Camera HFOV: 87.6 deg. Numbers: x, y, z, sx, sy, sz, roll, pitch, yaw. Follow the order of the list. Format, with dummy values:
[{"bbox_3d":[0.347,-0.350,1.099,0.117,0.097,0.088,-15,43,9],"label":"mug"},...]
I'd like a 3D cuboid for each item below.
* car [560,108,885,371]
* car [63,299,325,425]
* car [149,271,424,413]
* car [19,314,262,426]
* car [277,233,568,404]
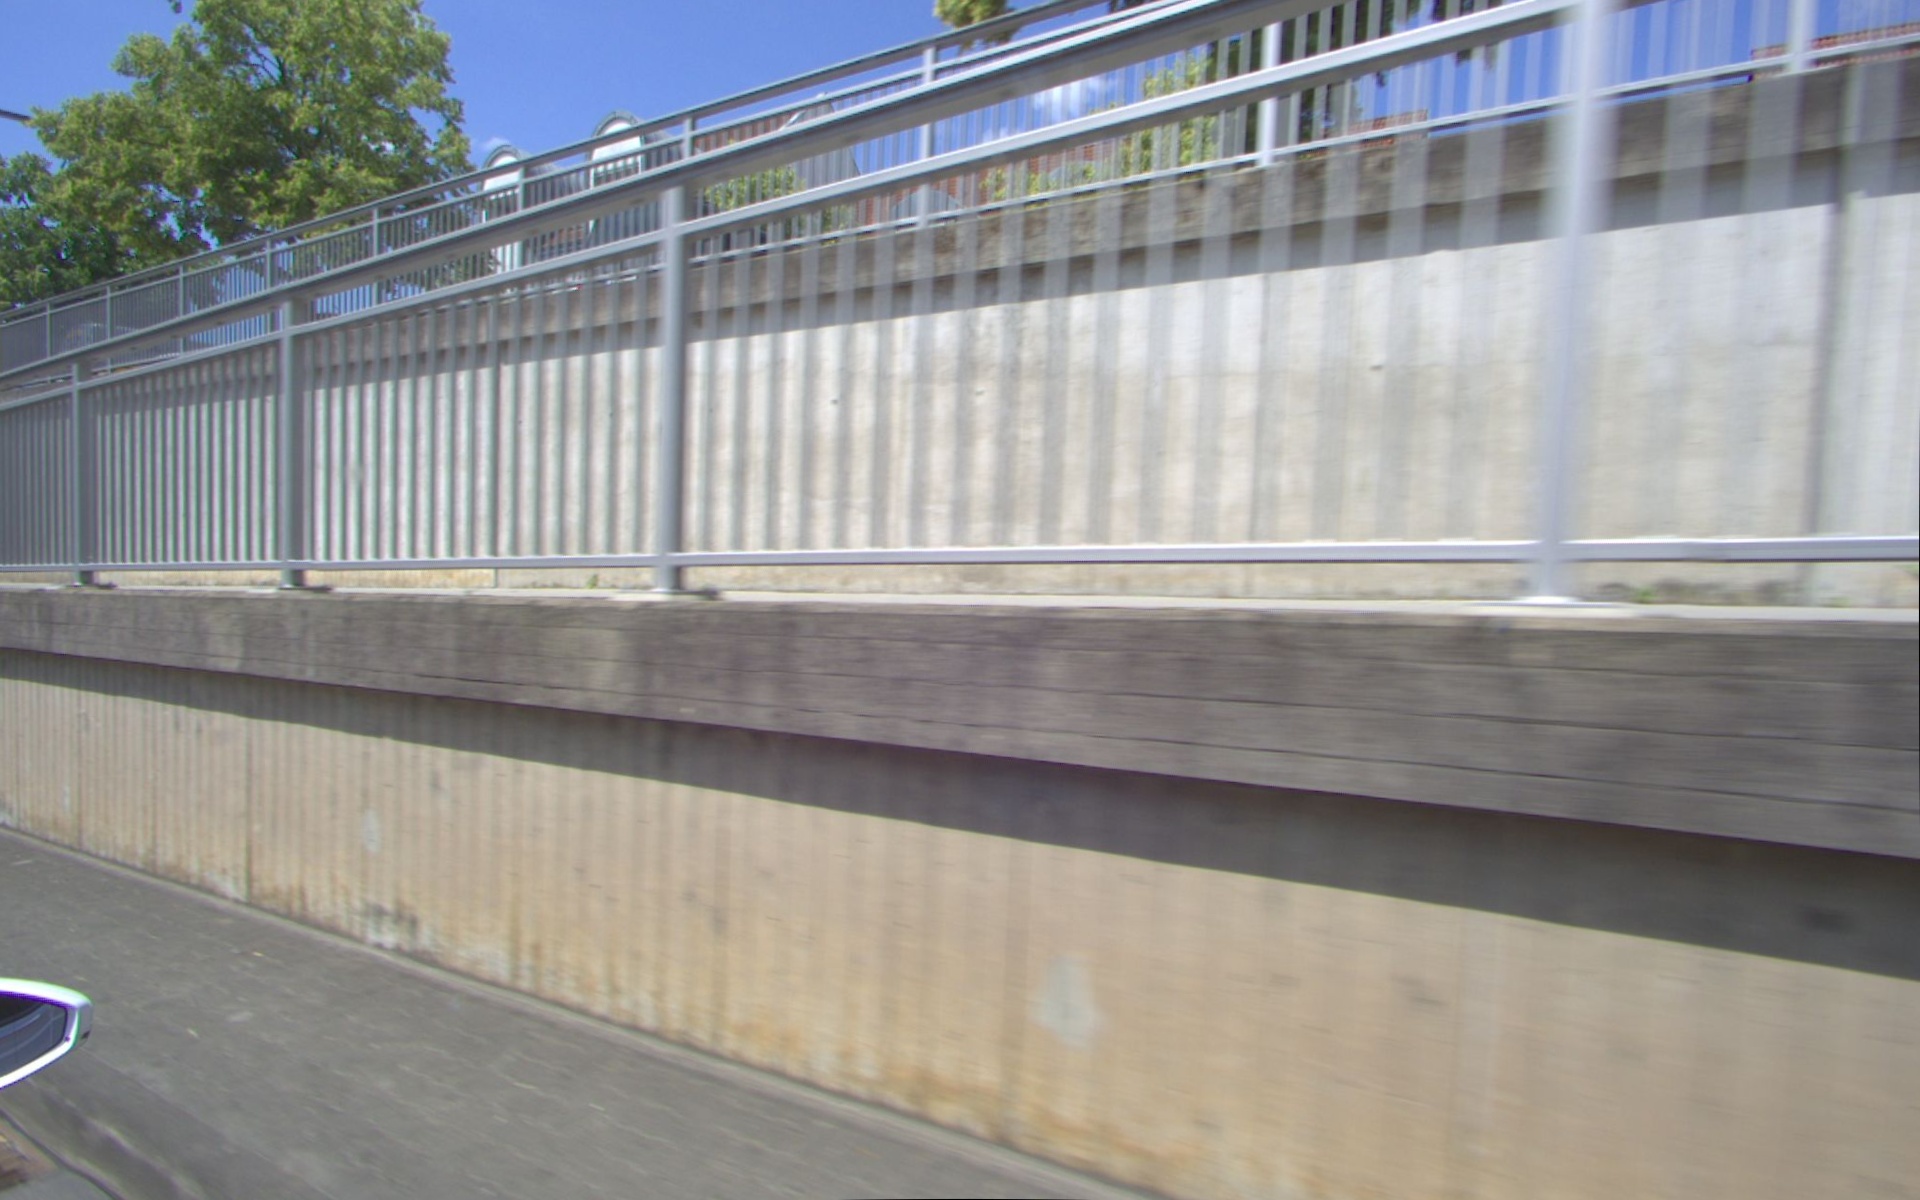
[{"bbox_3d":[-2.901,-4.394,12.992,1.746,1.793,3.976,0,-1,35],"label":"car"},{"bbox_3d":[-15.680,-4.779,20.679,1.746,1.505,3.976,0,-1,35],"label":"car"},{"bbox_3d":[-12.571,-4.726,18.929,1.746,1.505,3.976,0,-1,35],"label":"car"},{"bbox_3d":[-18.527,-5.119,22.812,1.746,1.505,3.976,0,-1,35],"label":"car"},{"bbox_3d":[-8.857,-4.549,16.817,1.746,1.587,3.976,0,-1,35],"label":"car"}]
